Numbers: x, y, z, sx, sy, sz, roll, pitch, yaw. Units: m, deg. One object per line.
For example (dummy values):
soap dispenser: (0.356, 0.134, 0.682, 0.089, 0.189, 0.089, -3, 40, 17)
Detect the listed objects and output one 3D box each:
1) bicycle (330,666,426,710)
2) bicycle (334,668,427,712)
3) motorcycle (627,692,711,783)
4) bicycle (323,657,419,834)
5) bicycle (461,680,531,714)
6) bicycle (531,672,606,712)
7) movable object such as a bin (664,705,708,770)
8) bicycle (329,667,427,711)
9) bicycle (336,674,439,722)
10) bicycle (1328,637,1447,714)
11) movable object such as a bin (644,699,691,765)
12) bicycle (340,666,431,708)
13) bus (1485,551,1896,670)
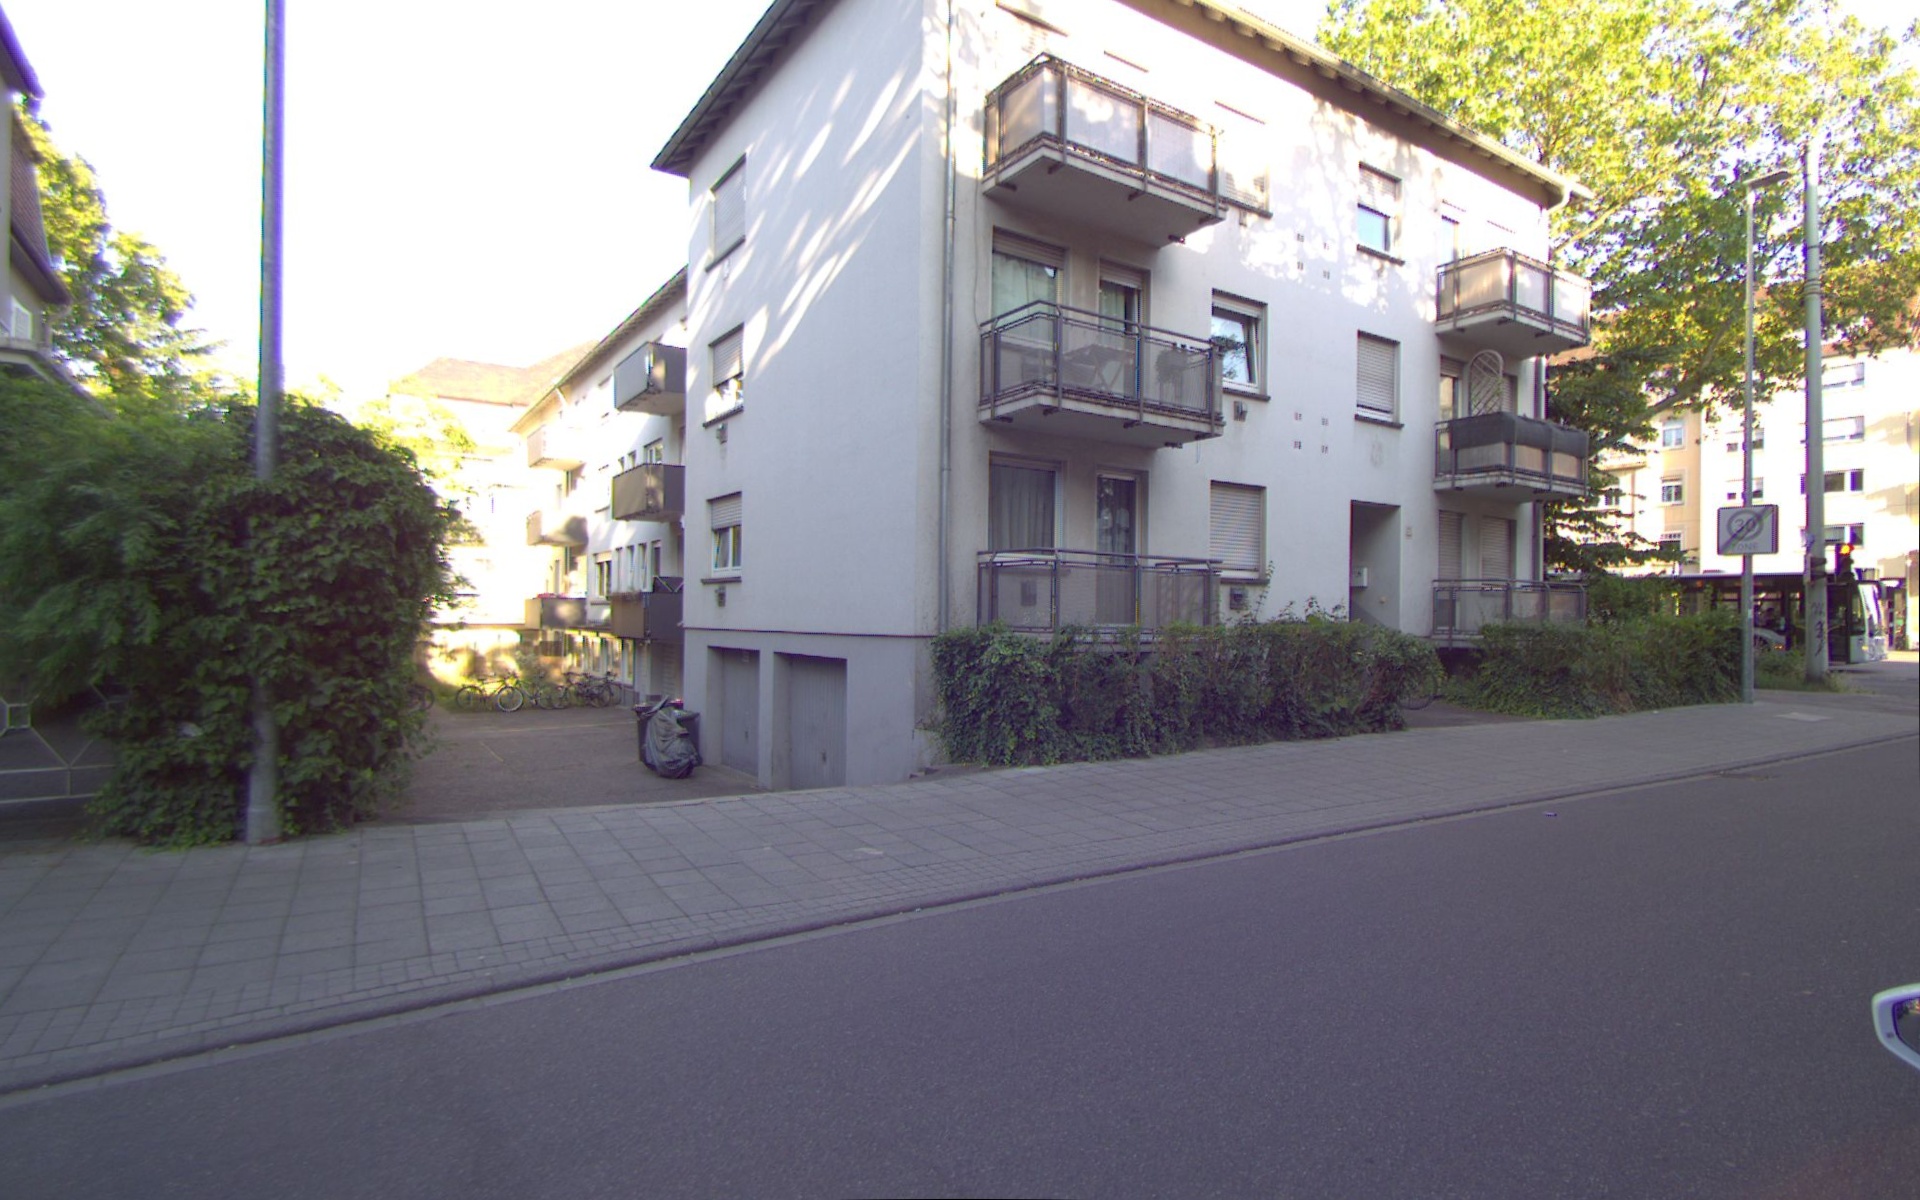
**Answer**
bicycle: (-16.511, 2.481, 28.568, 2.311, 1.192, 0.689, 1, -3, -31)
bicycle: (-16.861, 2.599, 29.287, 2.311, 1.192, 0.689, 1, -3, -31)
motorcycle: (-4.813, 2.230, 16.562, 0.739, 1.313, 1.563, 1, -2, -41)
bicycle: (-7.994, 1.775, 13.511, 0.961, 1.917, 4.155, 1, -2, -32)
bicycle: (-13.047, 2.727, 28.246, 1.734, 0.890, 0.561, 1, -4, -31)
bicycle: (-11.400, 2.657, 29.257, 1.983, 1.085, 0.561, 1, -3, -31)
movable object such as a bin: (-4.815, 2.401, 17.645, 0.606, 1.051, 0.534, 1, -3, -34)
bicycle: (-16.081, 2.454, 27.825, 2.311, 1.148, 0.689, 1, -3, -31)
bicycle: (-14.805, 2.509, 26.014, 2.268, 1.148, 0.689, 1, -3, -31)
bicycle: (6.433, 1.117, 15.192, 1.590, 1.022, 0.517, 3, 1, 20)
movable object such as a bin: (-5.371, 2.402, 18.422, 0.606, 1.129, 0.795, 1, -3, -34)
bicycle: (-17.137, 2.581, 30.014, 2.311, 1.192, 0.689, 1, -3, -31)
bus: (22.919, 0.364, 32.418, 2.885, 3.243, 10.375, 1, -1, -37)
